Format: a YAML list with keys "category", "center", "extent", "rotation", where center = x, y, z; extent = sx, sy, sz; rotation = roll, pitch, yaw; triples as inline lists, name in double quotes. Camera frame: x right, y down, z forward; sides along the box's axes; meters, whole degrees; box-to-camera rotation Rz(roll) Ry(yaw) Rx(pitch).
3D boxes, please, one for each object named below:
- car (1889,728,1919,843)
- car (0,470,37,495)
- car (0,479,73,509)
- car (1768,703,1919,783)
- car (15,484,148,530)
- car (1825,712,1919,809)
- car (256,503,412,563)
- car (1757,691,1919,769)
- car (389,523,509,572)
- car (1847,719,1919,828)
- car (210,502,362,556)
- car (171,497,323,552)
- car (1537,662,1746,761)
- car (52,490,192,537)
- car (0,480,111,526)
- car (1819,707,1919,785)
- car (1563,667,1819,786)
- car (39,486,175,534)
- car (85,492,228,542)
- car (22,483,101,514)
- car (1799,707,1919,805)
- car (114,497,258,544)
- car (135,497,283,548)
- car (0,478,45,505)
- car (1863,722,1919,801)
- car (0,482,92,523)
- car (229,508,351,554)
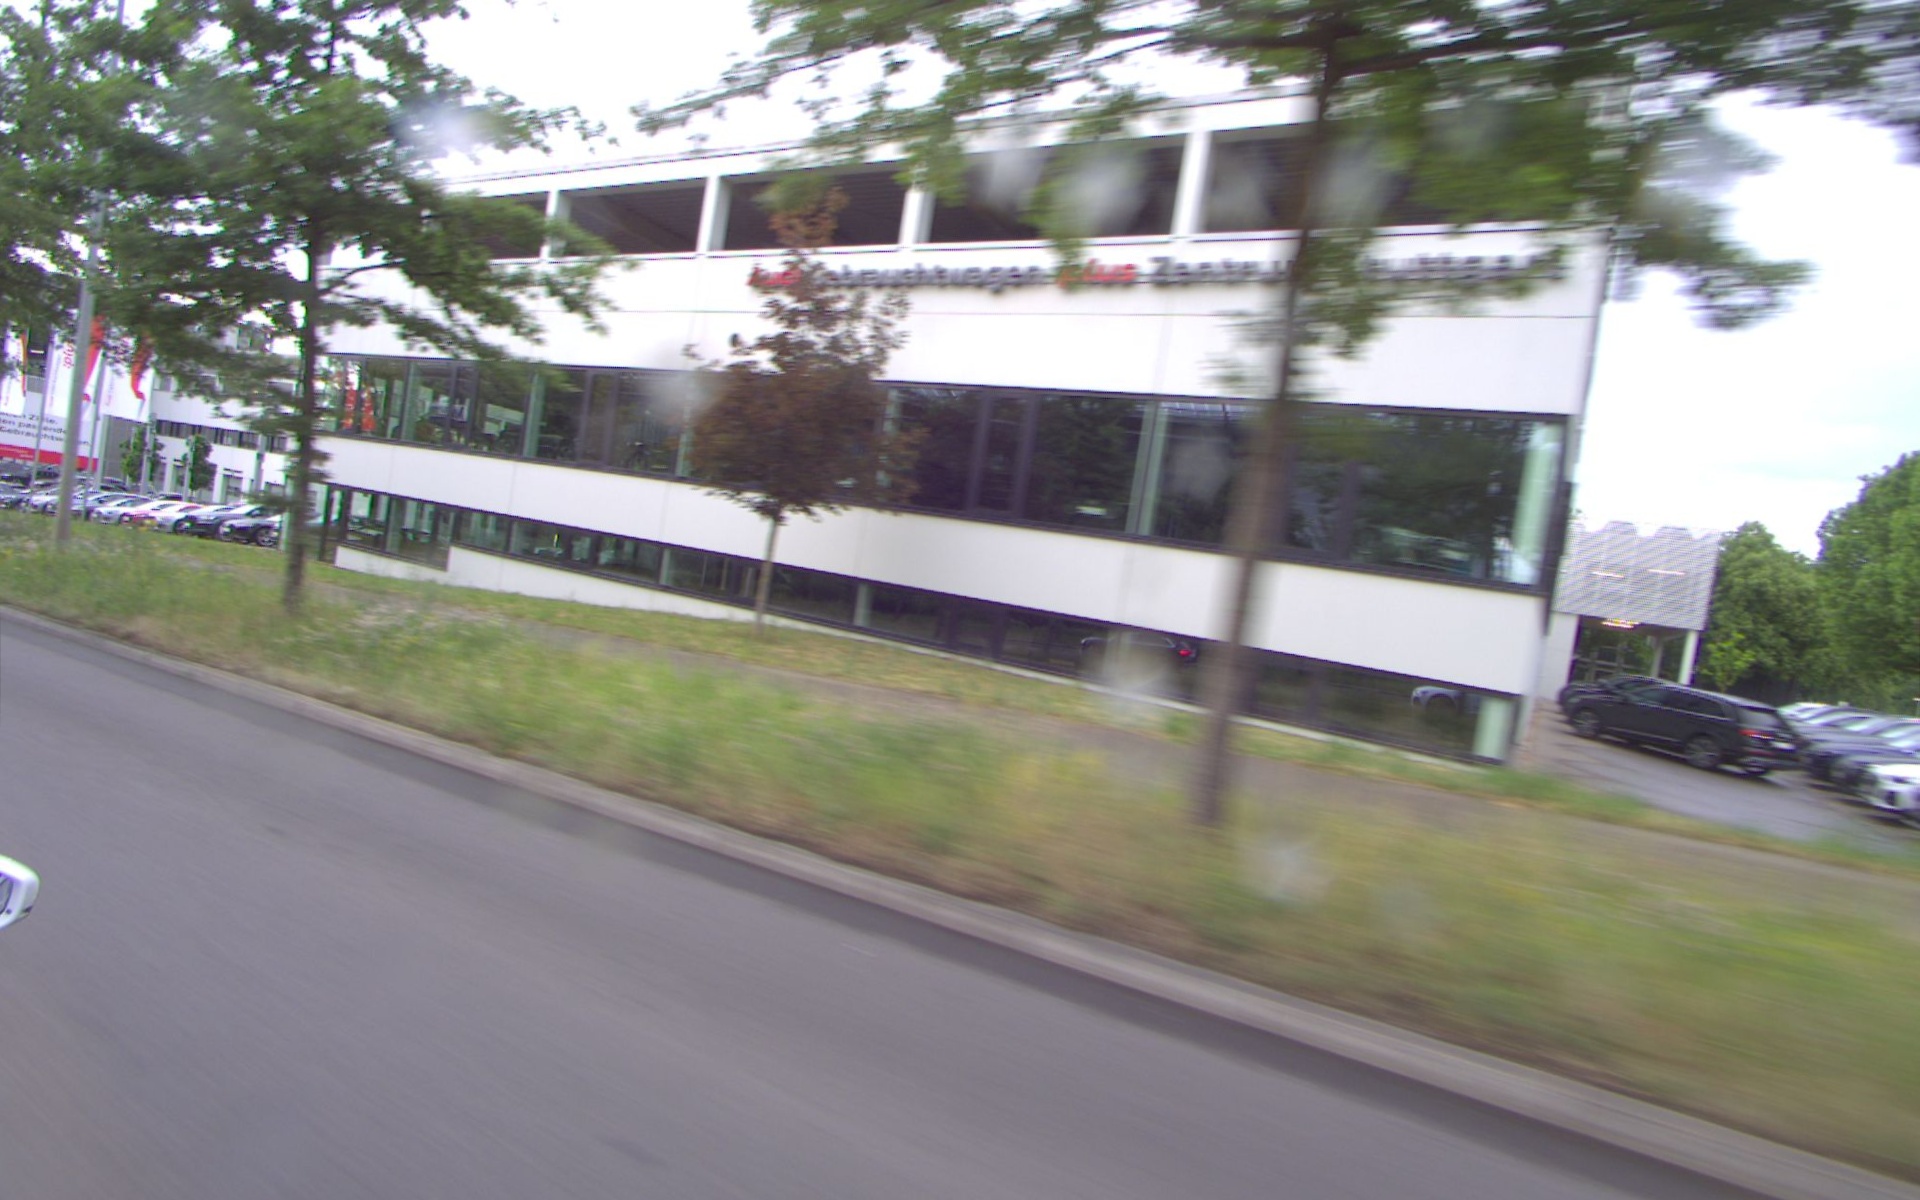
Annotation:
- category: "car"
  center: [16.912, 3.136, 15.344]
  extent: [3.581, 1.698, 1.698]
  rotation: [6, 1, 31]
- category: "car"
  center: [-79.331, -9.911, 83.111]
  extent: [1.664, 1.592, 4.114]
  rotation: [8, -1, 30]
- category: "car"
  center: [-72.790, -8.340, 79.150]
  extent: [1.664, 1.593, 4.112]
  rotation: [9, 0, 30]
- category: "car"
  center: [24.908, 3.979, 27.844]
  extent: [3.581, 1.695, 1.701]
  rotation: [6, -2, 31]
- category: "car"
  center: [-42.762, -4.504, 49.072]
  extent: [1.898, 1.570, 4.467]
  rotation: [6, 0, 30]
- category: "car"
  center: [19.314, 3.299, 19.418]
  extent: [3.581, 1.694, 1.702]
  rotation: [6, -3, 31]
- category: "car"
  center: [-22.863, -2.418, 36.898]
  extent: [1.898, 1.499, 4.404]
  rotation: [6, -1, 30]
- category: "car"
  center: [25.798, 3.772, 29.398]
  extent: [3.581, 1.695, 1.701]
  rotation: [6, -2, 31]
- category: "car"
  center: [-22.264, -2.276, 43.994]
  extent: [1.795, 1.570, 4.283]
  rotation: [6, 0, 29]
- category: "car"
  center: [18.069, 3.238, 17.461]
  extent: [3.581, 1.698, 1.698]
  rotation: [6, 2, 31]
- category: "car"
  center: [-25.233, -2.617, 37.837]
  extent: [1.805, 1.395, 4.326]
  rotation: [6, 0, 29]
- category: "car"
  center: [-28.006, -2.950, 39.657]
  extent: [2.006, 1.519, 4.402]
  rotation: [6, 0, 31]
- category: "car"
  center: [18.901, 3.038, 28.178]
  extent: [1.680, 1.698, 4.503]
  rotation: [8, 3, -21]
- category: "car"
  center: [-38.093, -3.928, 45.860]
  extent: [1.898, 1.474, 4.466]
  rotation: [6, 0, 30]
- category: "car"
  center: [-45.345, -4.825, 50.083]
  extent: [1.795, 1.612, 4.285]
  rotation: [6, -1, 29]
- category: "car"
  center: [24.324, 3.828, 25.410]
  extent: [3.581, 1.695, 1.701]
  rotation: [6, -2, 31]
- category: "car"
  center: [17.034, 2.880, 23.756]
  extent: [1.680, 1.698, 4.503]
  rotation: [8, 3, -21]
- category: "car"
  center: [-40.256, -4.214, 47.577]
  extent: [1.898, 1.547, 4.467]
  rotation: [6, 0, 30]
- category: "car"
  center: [-35.446, -3.657, 44.501]
  extent: [1.898, 1.473, 4.468]
  rotation: [6, -1, 30]
- category: "car"
  center: [-68.689, -7.758, 77.000]
  extent: [1.664, 1.593, 4.112]
  rotation: [7, -1, 30]
- category: "car"
  center: [20.640, 3.471, 21.747]
  extent: [3.463, 1.698, 1.698]
  rotation: [6, 2, 31]
- category: "car"
  center: [-32.830, -3.343, 42.786]
  extent: [1.899, 1.365, 4.402]
  rotation: [6, 0, 30]
- category: "car"
  center: [-30.555, -3.136, 41.066]
  extent: [1.859, 1.445, 4.402]
  rotation: [6, 0, 31]
- category: "car"
  center: [-75.538, -8.767, 79.620]
  extent: [1.795, 1.592, 4.114]
  rotation: [8, -1, 30]
- category: "car"
  center: [23.197, 3.902, 22.858]
  extent: [3.581, 1.695, 1.701]
  rotation: [6, -2, 31]
- category: "car"
  center: [-47.930, -5.097, 51.762]
  extent: [1.897, 1.569, 4.472]
  rotation: [6, -1, 26]
- category: "car"
  center: [-32.584, -3.331, 49.062]
  extent: [1.898, 1.569, 4.470]
  rotation: [6, -1, 29]
